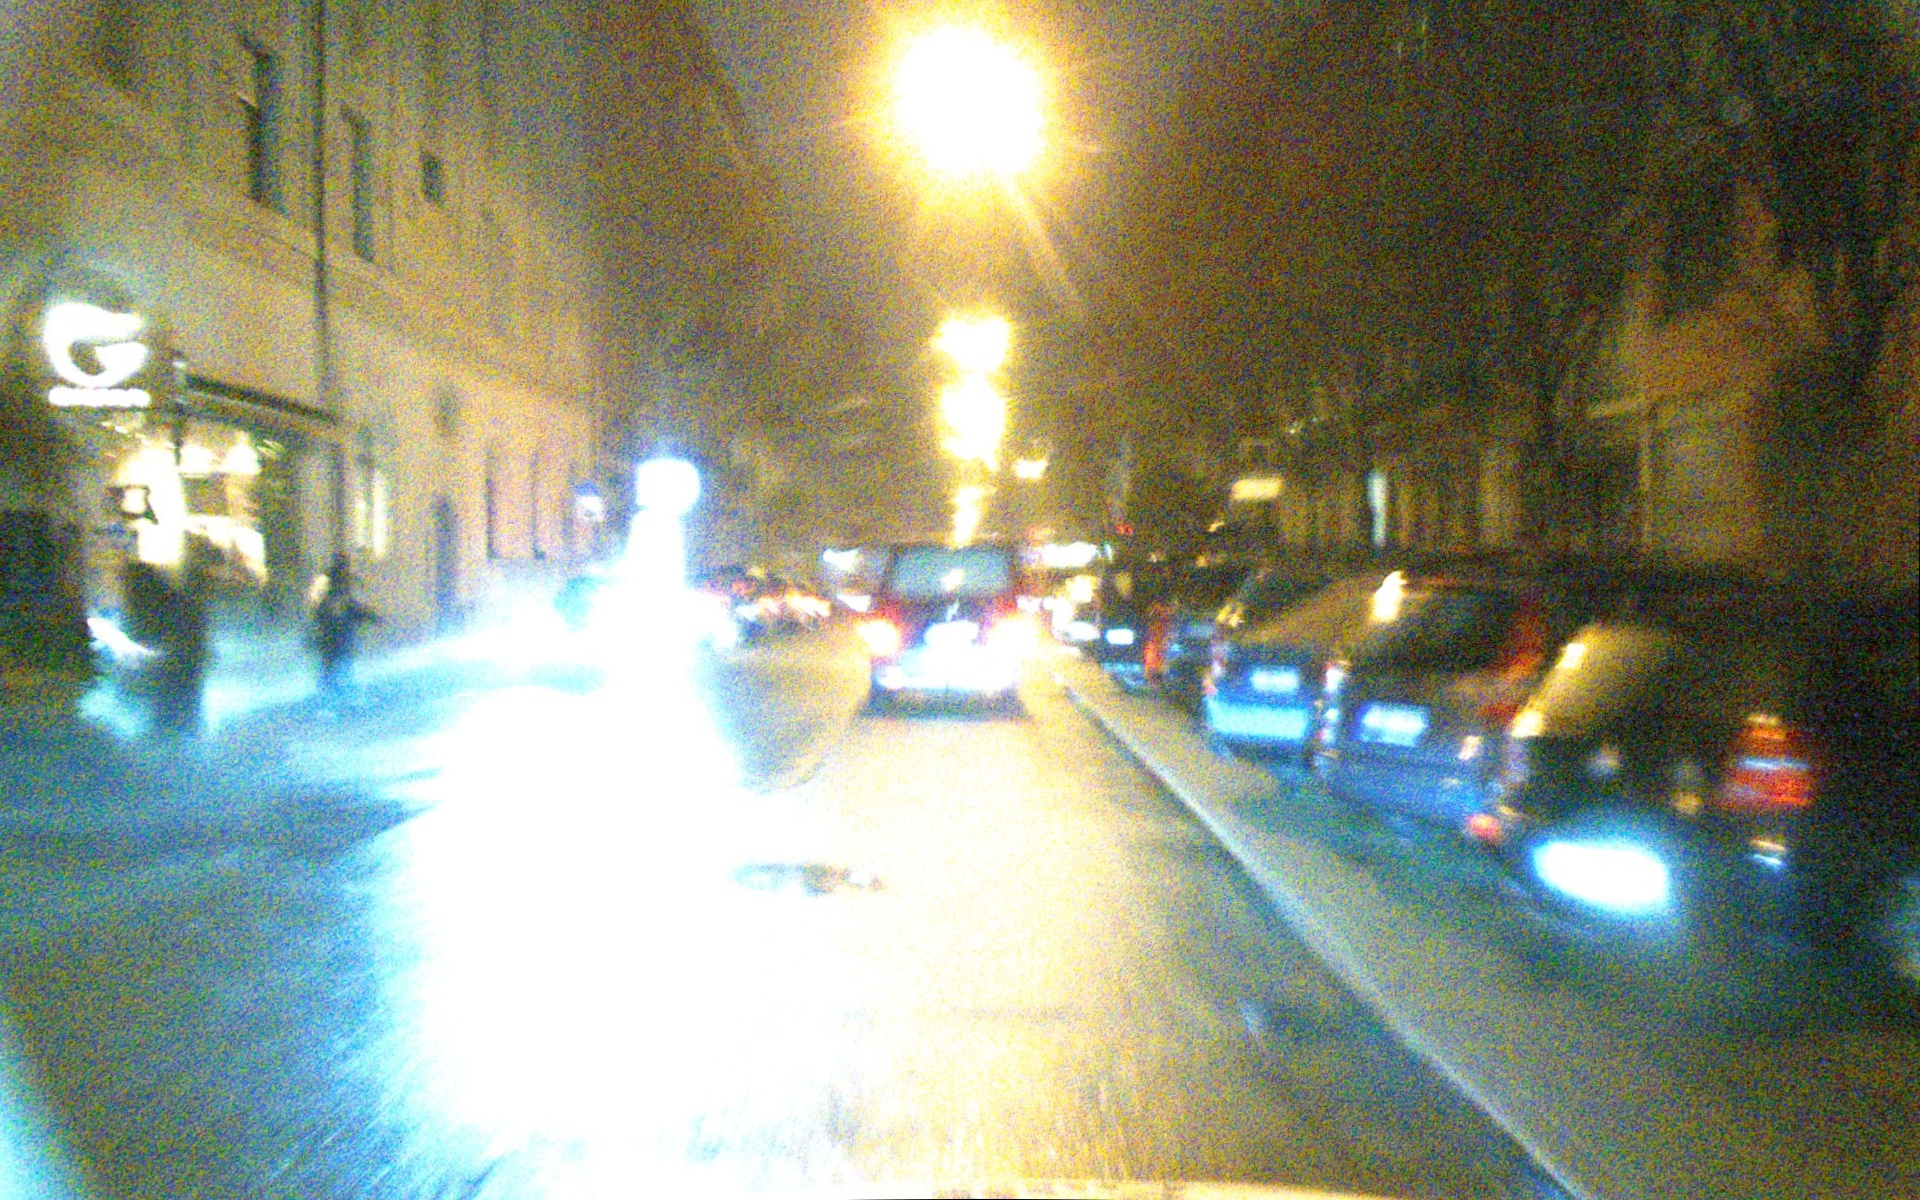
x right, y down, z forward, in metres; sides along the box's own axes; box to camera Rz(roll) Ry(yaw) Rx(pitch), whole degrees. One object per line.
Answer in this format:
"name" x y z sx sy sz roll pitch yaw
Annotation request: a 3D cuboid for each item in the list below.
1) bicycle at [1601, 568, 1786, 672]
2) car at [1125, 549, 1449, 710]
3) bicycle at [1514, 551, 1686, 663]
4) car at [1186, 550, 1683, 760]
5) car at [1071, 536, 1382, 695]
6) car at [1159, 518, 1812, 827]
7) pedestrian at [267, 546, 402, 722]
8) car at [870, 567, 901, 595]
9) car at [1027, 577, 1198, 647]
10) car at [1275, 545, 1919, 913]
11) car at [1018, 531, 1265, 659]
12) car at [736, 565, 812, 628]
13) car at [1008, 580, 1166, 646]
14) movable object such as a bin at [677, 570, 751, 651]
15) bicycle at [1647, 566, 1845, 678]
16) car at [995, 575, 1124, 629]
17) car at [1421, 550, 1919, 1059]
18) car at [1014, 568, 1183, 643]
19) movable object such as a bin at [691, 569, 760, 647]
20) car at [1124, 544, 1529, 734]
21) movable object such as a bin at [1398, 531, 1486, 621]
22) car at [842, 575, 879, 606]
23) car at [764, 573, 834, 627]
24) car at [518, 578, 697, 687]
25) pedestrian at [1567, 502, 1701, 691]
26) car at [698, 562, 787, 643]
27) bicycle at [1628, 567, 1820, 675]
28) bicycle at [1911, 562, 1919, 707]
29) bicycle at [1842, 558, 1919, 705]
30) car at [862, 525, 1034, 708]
"bicycle" 8.492 0.223 19.162 1.934 1.073 0.509 -3 1 -7
"car" 3.961 0.305 19.869 3.729 1.758 1.697 0 1 -34
"bicycle" 8.465 0.087 21.931 1.930 1.358 0.783 -3 1 6
"car" 4.176 0.416 14.572 3.995 1.639 1.831 0 1 -24
"car" 3.689 0.159 22.565 4.201 1.891 1.695 -3 1 -36
"car" 3.572 0.407 11.273 4.038 1.795 1.846 0 1 -23
"pedestrian" -6.559 0.340 17.397 1.109 1.813 0.788 0 1 0
"car" -4.421 -1.112 97.531 1.777 1.584 4.074 0 1 -4
"car" 3.818 0.274 41.173 3.960 1.579 1.973 -2 1 -38
"car" 3.638 0.560 8.833 3.504 1.639 1.702 0 1 -22
"car" 3.546 -0.138 31.929 4.675 2.287 1.921 -2 1 -37
"car" -4.861 -0.128 43.682 1.571 1.579 4.025 1 1 -1
"car" 3.370 0.315 43.636 3.955 1.579 1.782 -2 1 -36
"movable object such as a bin" -4.683 0.184 31.545 1.183 1.485 1.107 1 0 2
"bicycle" 8.517 0.229 17.941 1.934 1.073 0.509 -3 1 -7
"car" 3.051 0.052 50.694 3.626 1.486 1.591 -2 1 -26
"car" 3.478 0.622 6.400 2.996 1.579 1.495 0 1 -22
"car" 3.176 0.106 37.819 3.603 1.569 1.544 -2 1 -30
"movable object such as a bin" -4.626 0.145 32.723 1.140 1.485 1.107 1 0 2
"car" 3.728 0.339 16.857 3.739 1.758 1.730 0 1 -23
"movable object such as a bin" 8.618 -0.431 29.615 1.184 1.476 0.999 -5 1 0
"car" -4.893 -0.495 81.835 1.554 1.508 3.794 0 1 1
"car" -4.711 -0.028 48.892 1.652 1.481 4.315 1 1 -1
"car" -4.838 0.386 23.234 1.620 1.383 4.222 0 1 0
"pedestrian" 7.088 -0.038 17.438 0.822 1.867 0.946 -5 0 -4
"car" -4.895 0.023 37.644 1.571 1.736 3.721 0 1 -1
"bicycle" 8.546 0.222 18.518 1.934 1.073 0.509 -3 1 -7
"bicycle" 8.533 0.231 13.136 1.654 1.166 0.596 -4 1 -9
"bicycle" 8.434 0.218 13.942 1.654 1.166 0.664 -4 1 -9
"car" -0.139 0.177 20.834 1.953 2.086 4.000 0 0 0
